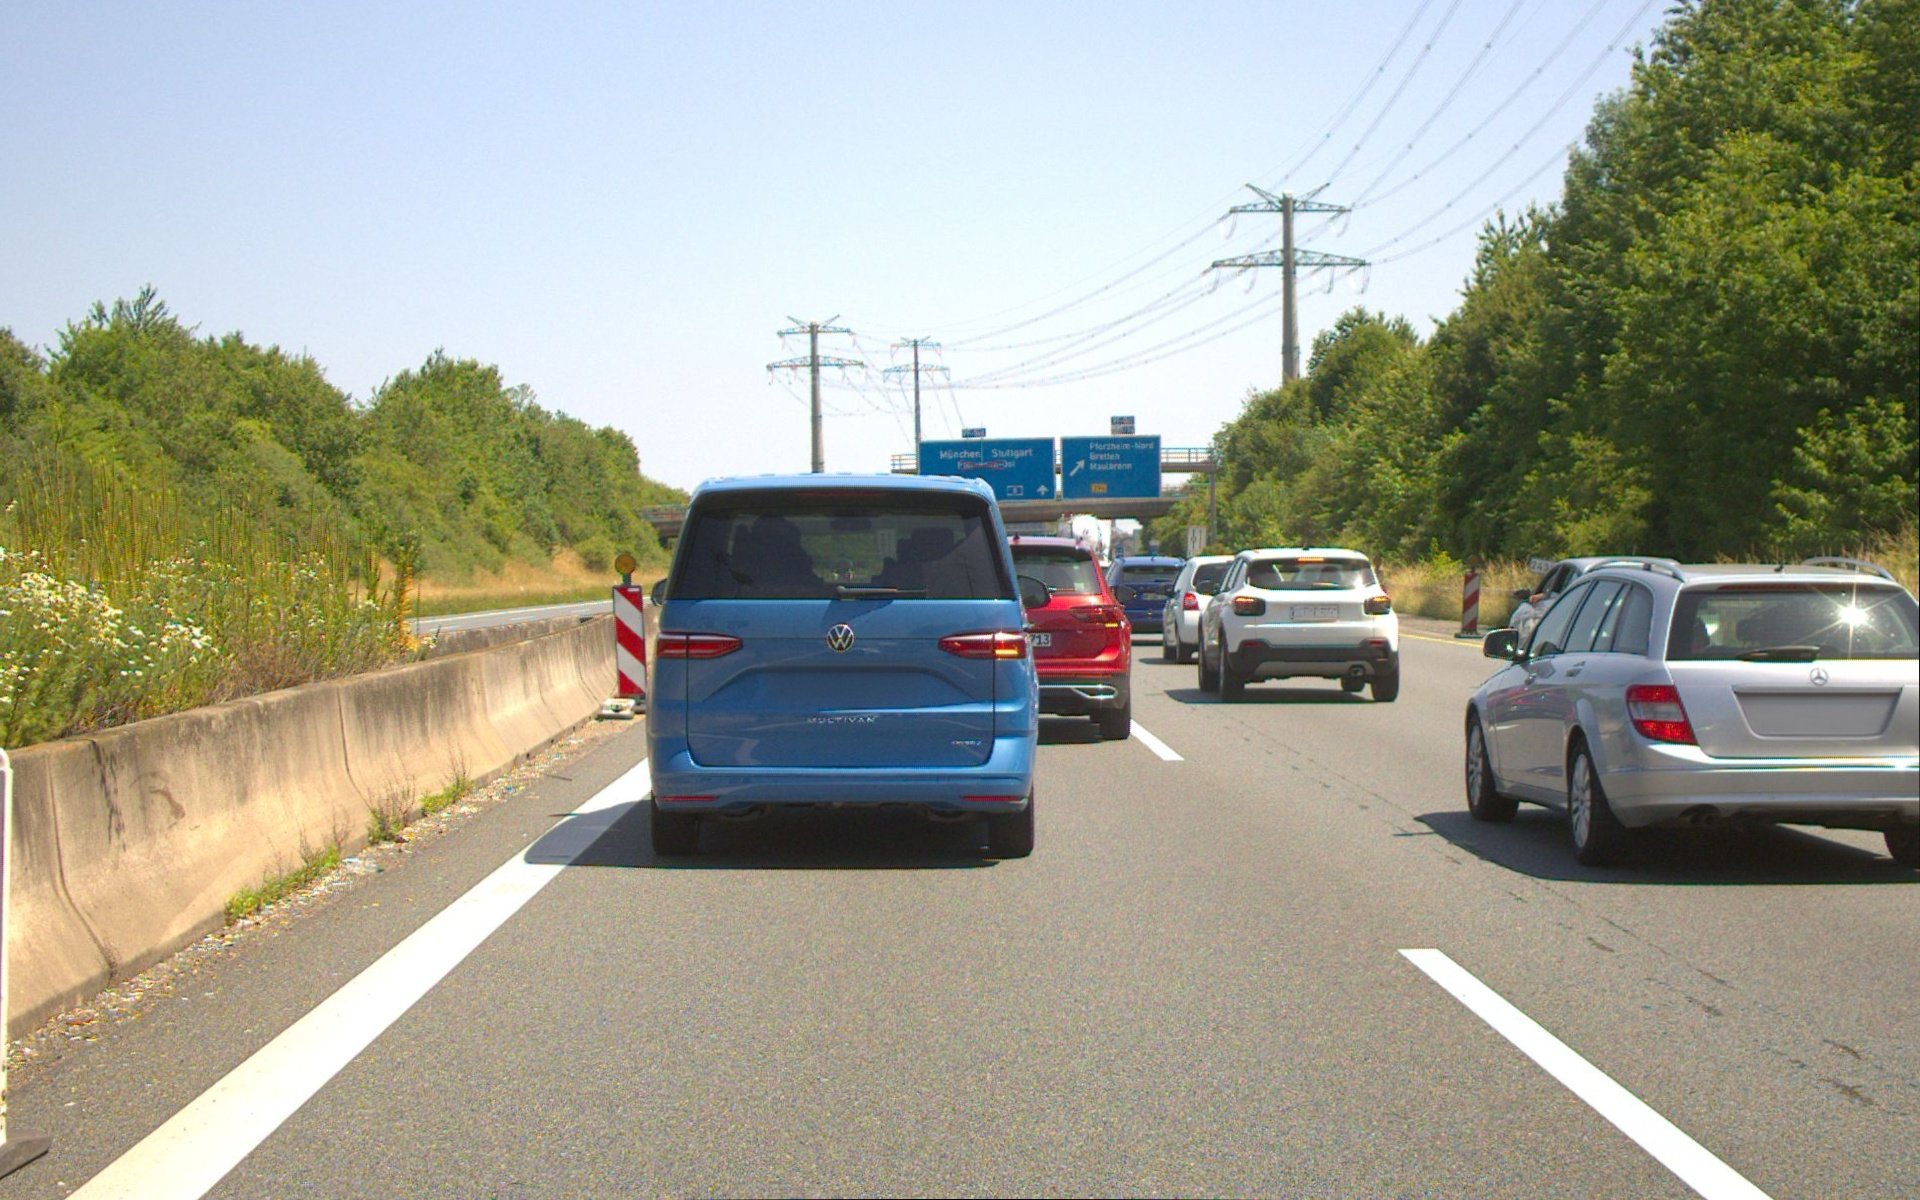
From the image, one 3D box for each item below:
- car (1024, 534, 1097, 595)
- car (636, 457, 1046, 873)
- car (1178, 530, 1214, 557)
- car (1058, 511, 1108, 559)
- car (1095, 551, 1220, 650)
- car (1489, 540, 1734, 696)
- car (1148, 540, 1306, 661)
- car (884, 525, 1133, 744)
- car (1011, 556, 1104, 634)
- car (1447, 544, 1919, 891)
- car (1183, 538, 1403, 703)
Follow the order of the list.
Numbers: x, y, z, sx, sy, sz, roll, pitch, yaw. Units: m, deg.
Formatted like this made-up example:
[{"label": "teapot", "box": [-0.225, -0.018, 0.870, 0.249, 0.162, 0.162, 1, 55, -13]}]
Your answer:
[{"label": "car", "box": [2.686, -0.951, 92.690, 1.797, 1.588, 4.227, 1, 1, -1]}, {"label": "car", "box": [-0.609, 0.282, 18.114, 1.874, 1.905, 4.360, 1, 1, -1]}, {"label": "car", "box": [15.230, -3.633, 222.219, 1.874, 1.665, 4.360, 1, 1, -1]}, {"label": "car", "box": [6.345, -3.362, 178.020, 2.377, 2.420, 4.227, 1, 1, -1]}, {"label": "car", "box": [3.278, -0.013, 57.787, 1.797, 1.588, 4.227, 1, 1, -1]}, {"label": "car", "box": [7.031, 0.163, 37.487, 1.797, 1.588, 4.227, 1, 1, -1]}, {"label": "car", "box": [3.677, -0.019, 47.976, 1.797, 1.588, 4.227, 1, 1, -1]}, {"label": "car", "box": [0.325, 0.244, 28.629, 1.874, 1.665, 4.360, 1, 1, -1]}, {"label": "car", "box": [2.059, -0.124, 73.804, 1.797, 1.588, 4.227, 1, 1, -1]}, {"label": "car", "box": [3.713, 0.499, 17.334, 1.770, 1.512, 4.360, 1, 1, -1]}, {"label": "car", "box": [3.389, 0.177, 35.662, 1.797, 1.588, 4.227, 1, 1, -1]}]
